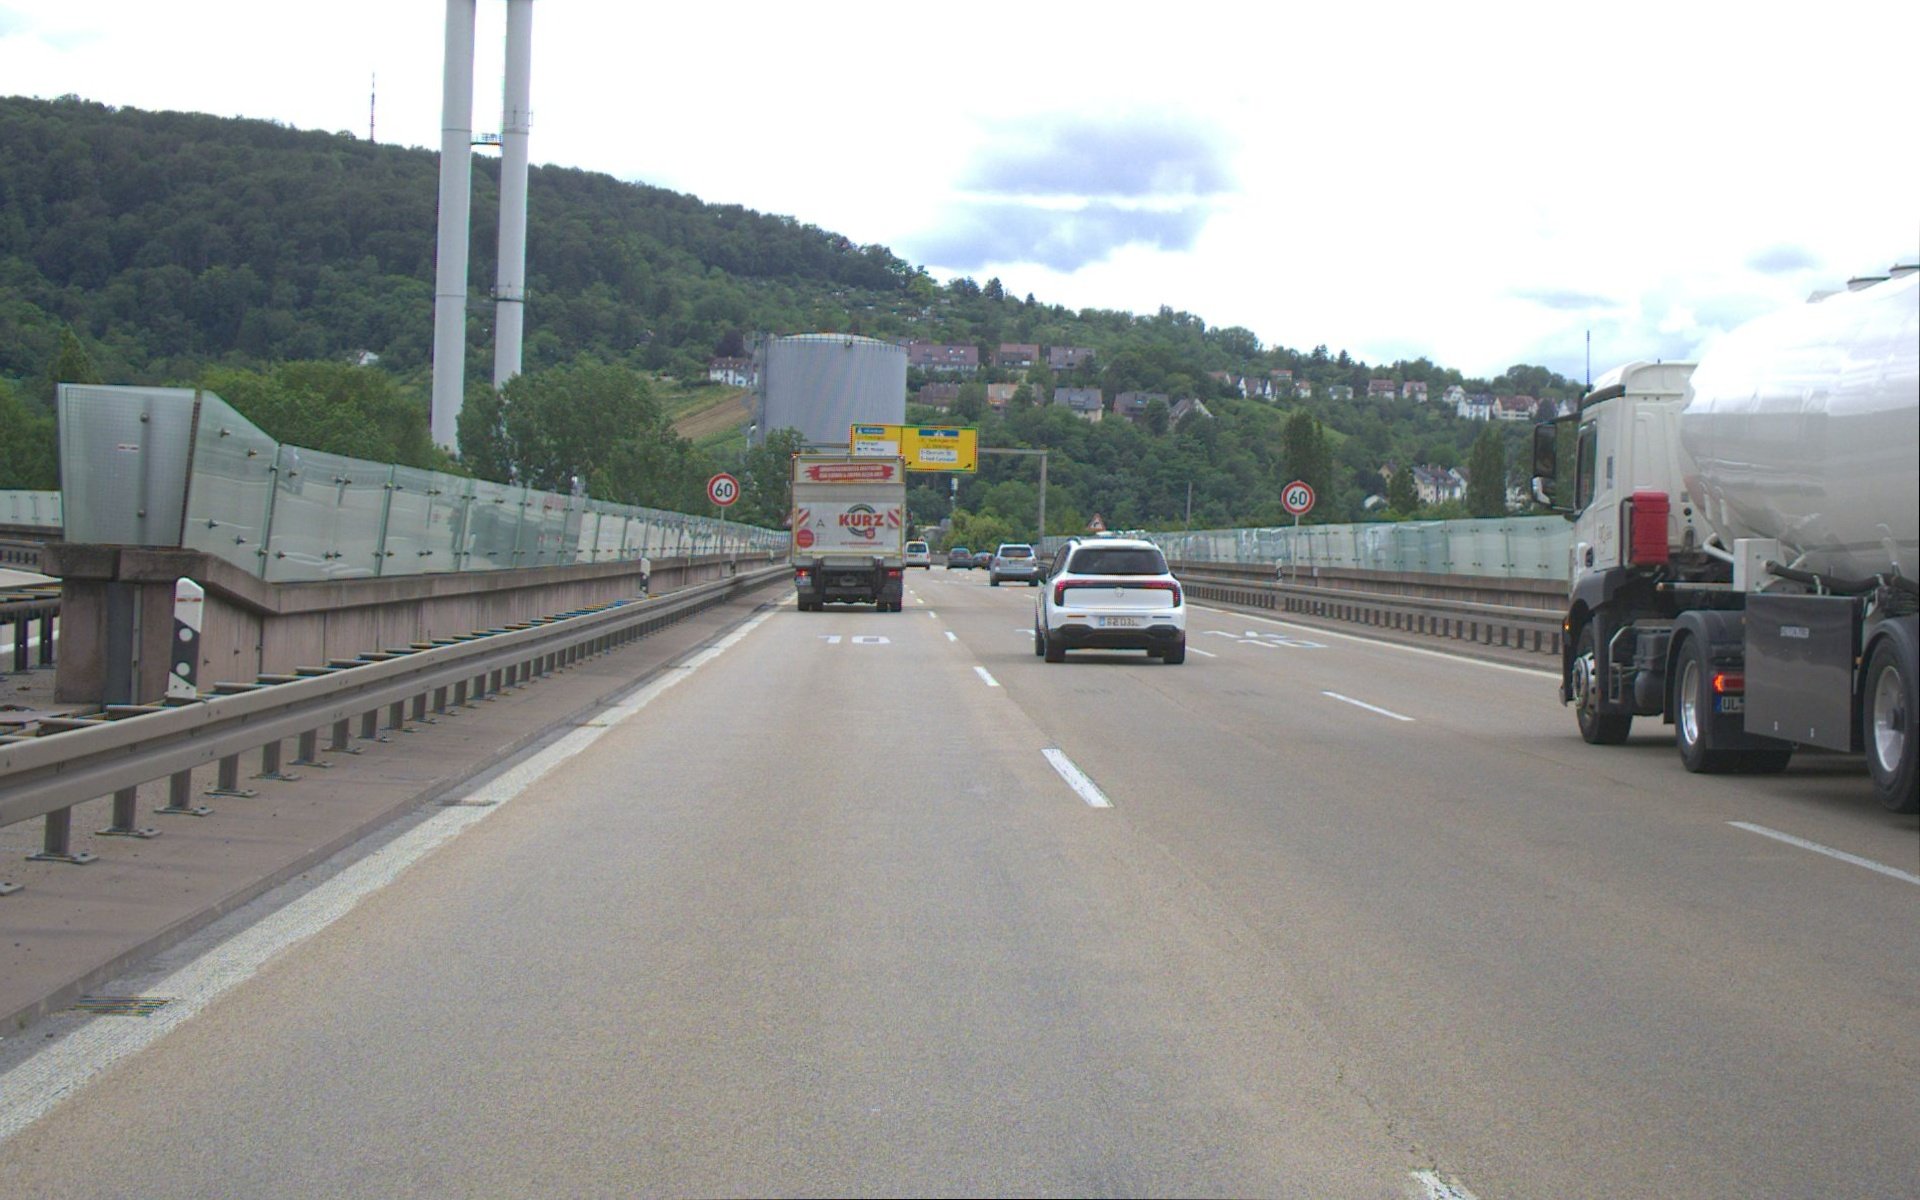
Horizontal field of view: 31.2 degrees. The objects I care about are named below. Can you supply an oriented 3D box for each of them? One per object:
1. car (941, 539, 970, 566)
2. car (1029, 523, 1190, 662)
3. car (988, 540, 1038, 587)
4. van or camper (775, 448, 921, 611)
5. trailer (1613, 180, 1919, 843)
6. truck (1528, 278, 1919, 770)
[{"bbox_3d":[-0.312,-3.337,240.076,1.924,1.779,4.113,1,1,-1],"label":"car"},{"bbox_3d":[1.994,-0.140,46.850,1.924,1.779,4.113,1,1,-1],"label":"car"},{"bbox_3d":[2.132,-1.452,136.669,1.924,1.779,4.113,1,1,1],"label":"car"},{"bbox_3d":[-2.542,-1.615,80.849,3.122,3.567,8.550,1,1,0],"label":"van or camper"},{"bbox_3d":[6.390,-0.482,20.354,2.650,3.531,11.221,1,1,-1],"label":"trailer"},{"bbox_3d":[6.271,-0.573,27.122,2.631,3.502,4.904,1,1,-1],"label":"truck"}]
